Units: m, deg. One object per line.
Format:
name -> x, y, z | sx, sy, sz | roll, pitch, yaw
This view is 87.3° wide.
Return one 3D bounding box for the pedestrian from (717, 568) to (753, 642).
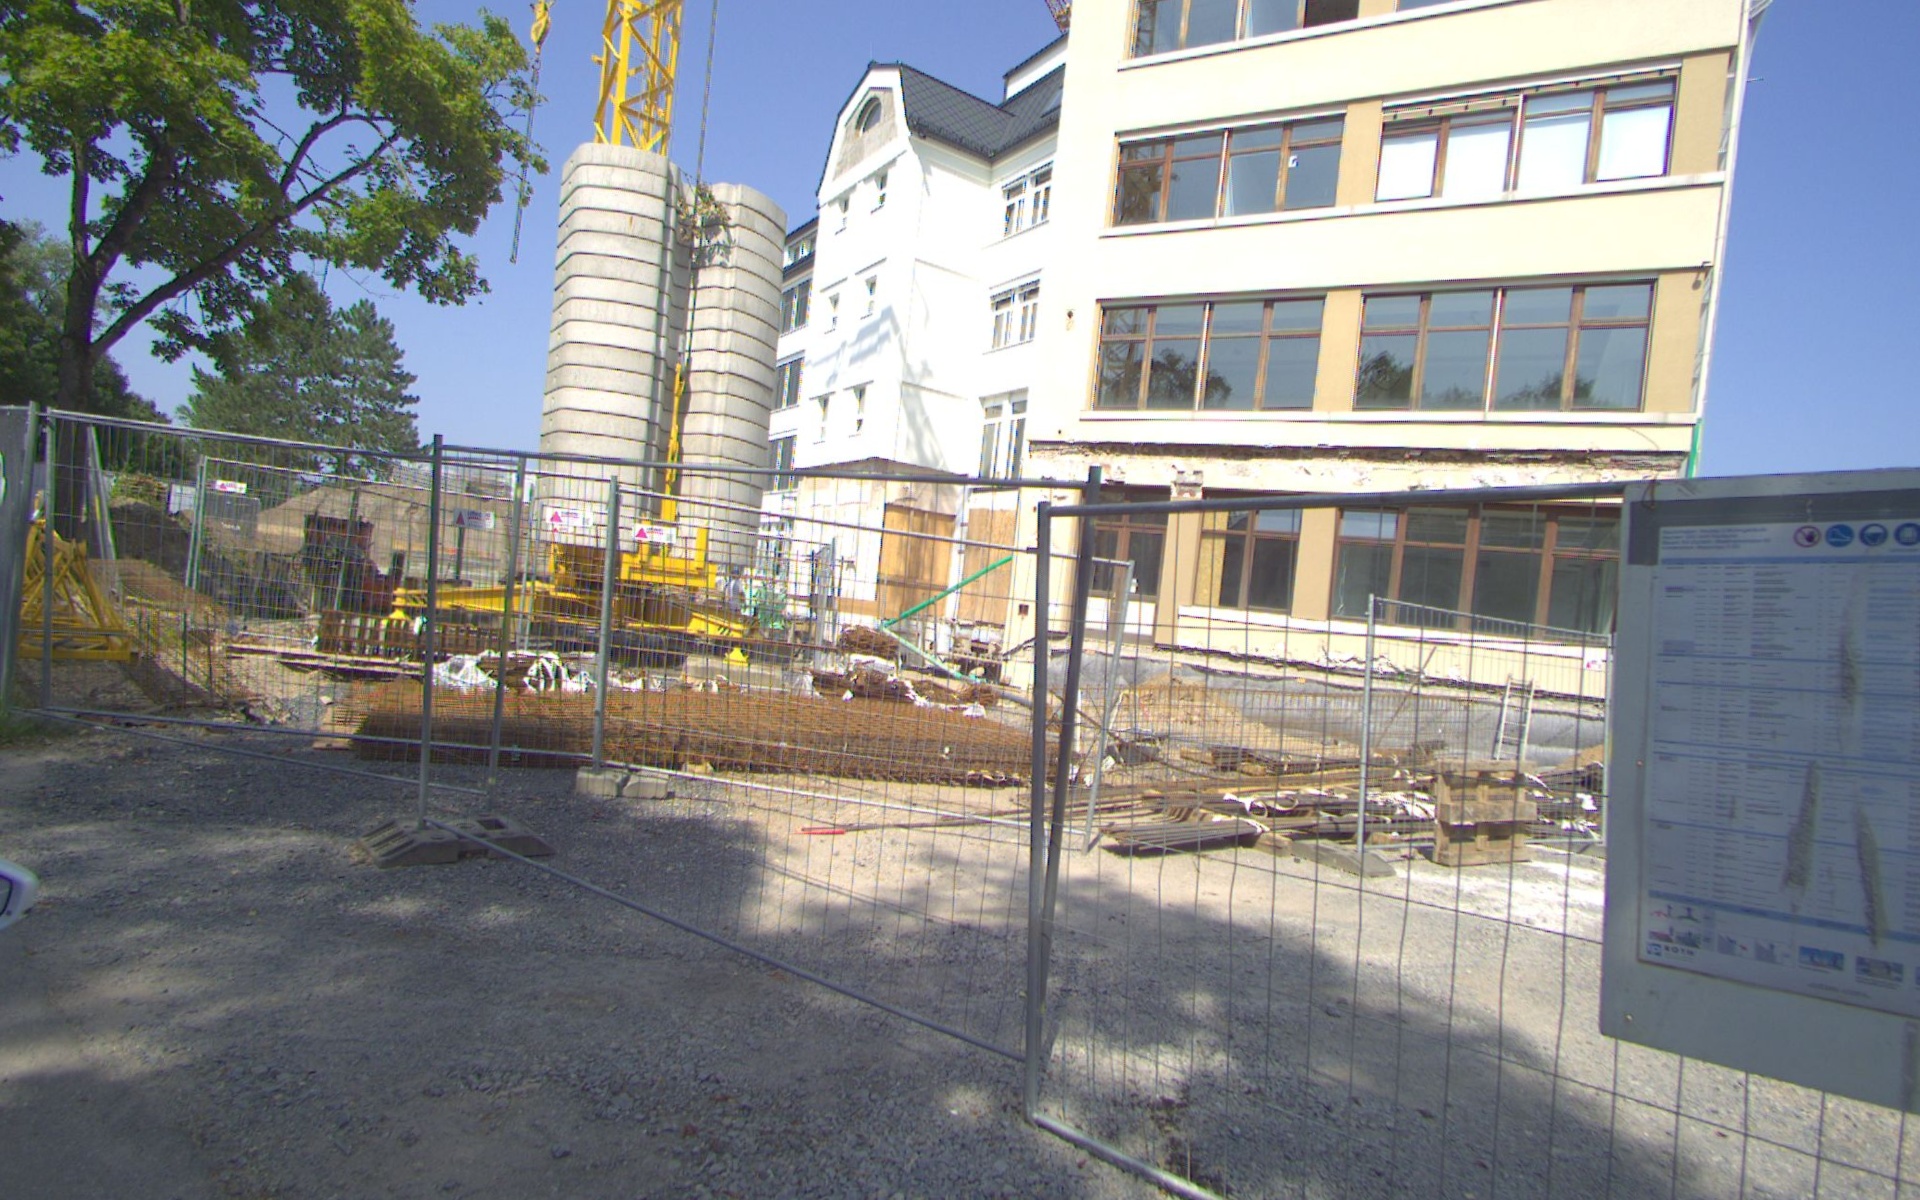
pedestrian -> -4.880, 0.109, 21.793 | 0.517, 1.547, 0.492 | 6, 1, -26
